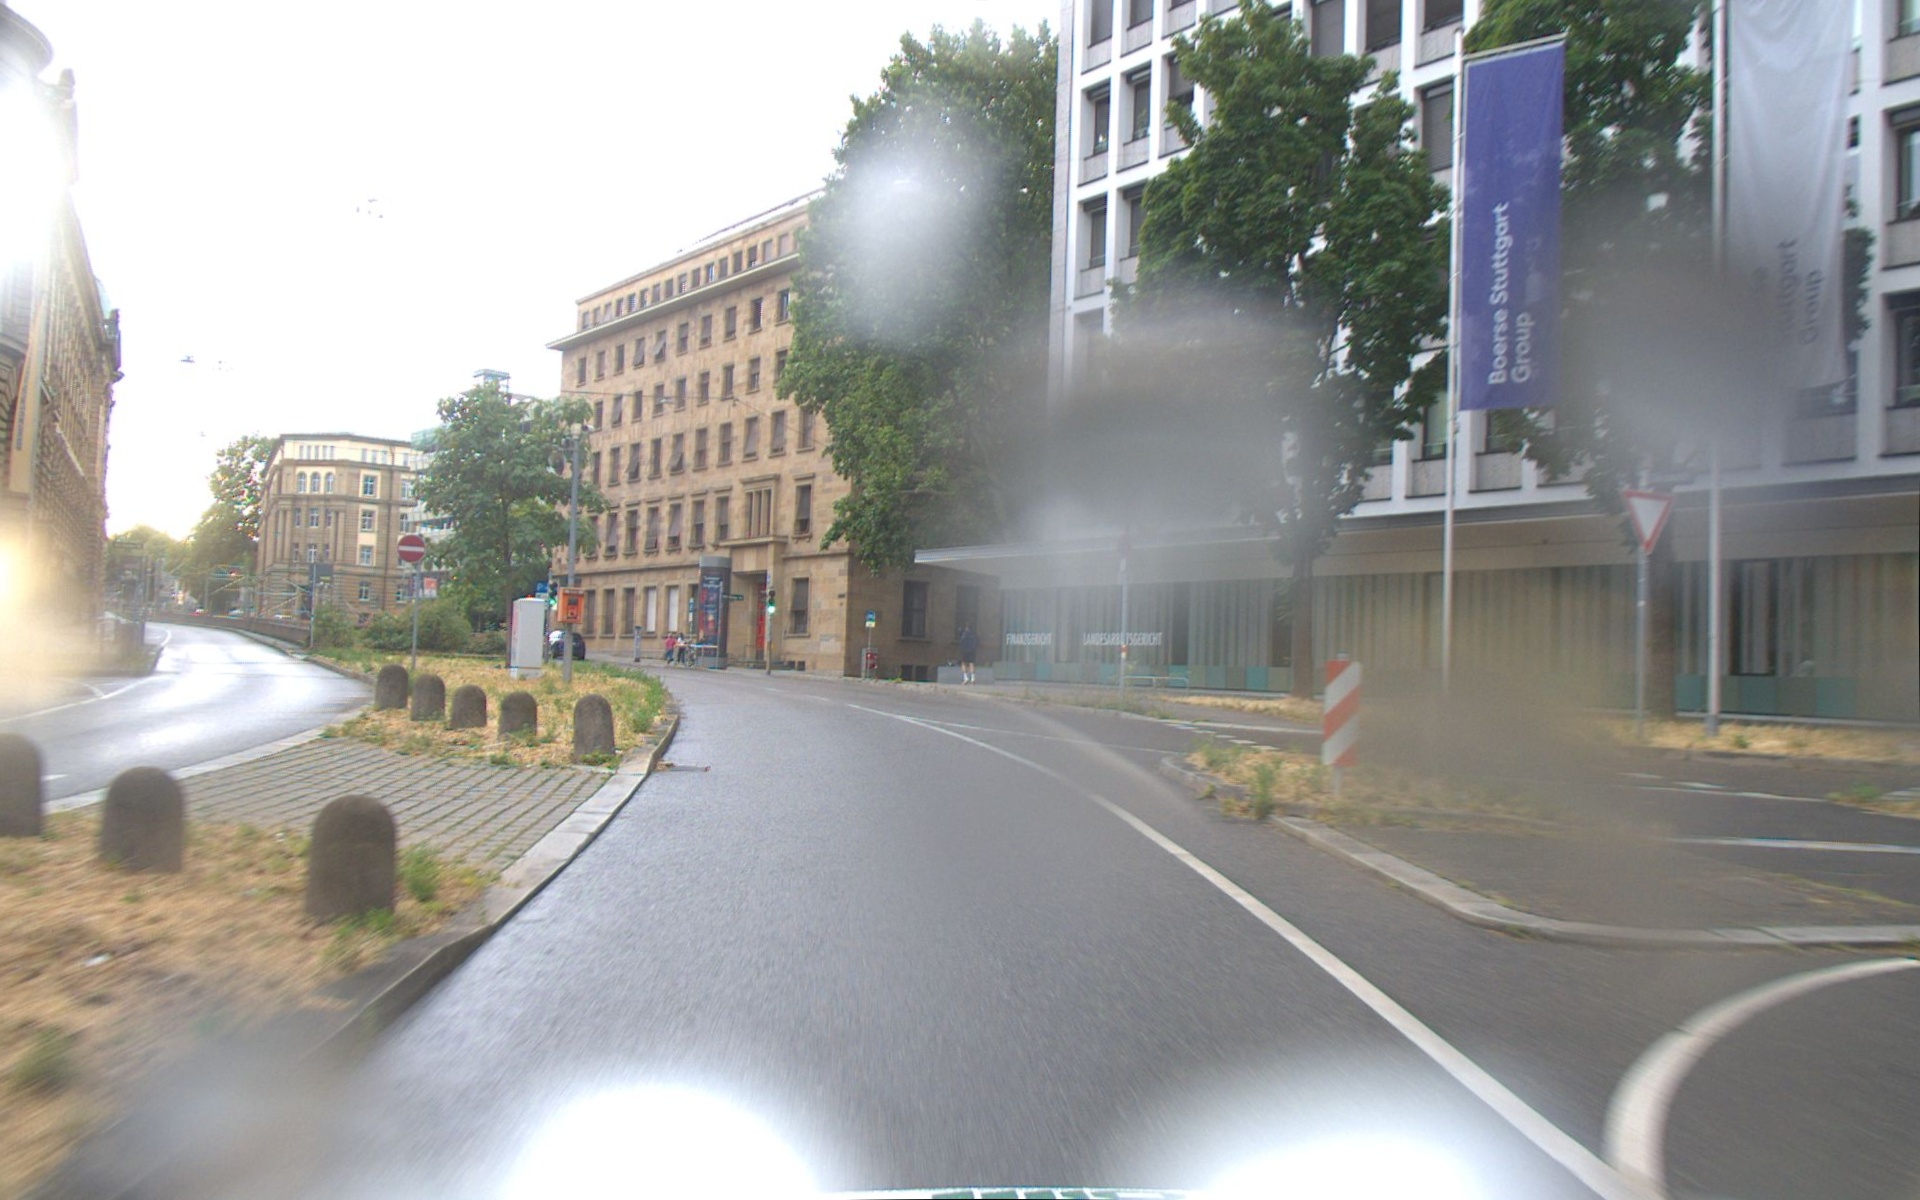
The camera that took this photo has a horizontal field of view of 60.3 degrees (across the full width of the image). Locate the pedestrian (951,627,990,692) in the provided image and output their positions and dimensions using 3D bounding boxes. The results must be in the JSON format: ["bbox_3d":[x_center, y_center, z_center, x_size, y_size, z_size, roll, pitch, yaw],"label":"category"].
[{"bbox_3d":[0.302,1.694,47.222,0.768,1.803,0.857,3,-2,-22],"label":"pedestrian"}]

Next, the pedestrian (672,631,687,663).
[{"bbox_3d":[-14.741,2.482,86.898,0.518,1.631,0.668,4,-3,-26],"label":"pedestrian"}]

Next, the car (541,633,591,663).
[{"bbox_3d":[-22.708,2.760,95.171,1.748,1.648,4.119,4,-3,-28],"label":"car"}]

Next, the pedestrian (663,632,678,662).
[{"bbox_3d":[-15.174,2.463,86.570,0.518,1.518,0.667,4,-3,-29],"label":"pedestrian"}]

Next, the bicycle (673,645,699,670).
[{"bbox_3d":[-11.615,2.436,70.071,0.483,1.030,1.910,4,-3,-28],"label":"bicycle"}]
